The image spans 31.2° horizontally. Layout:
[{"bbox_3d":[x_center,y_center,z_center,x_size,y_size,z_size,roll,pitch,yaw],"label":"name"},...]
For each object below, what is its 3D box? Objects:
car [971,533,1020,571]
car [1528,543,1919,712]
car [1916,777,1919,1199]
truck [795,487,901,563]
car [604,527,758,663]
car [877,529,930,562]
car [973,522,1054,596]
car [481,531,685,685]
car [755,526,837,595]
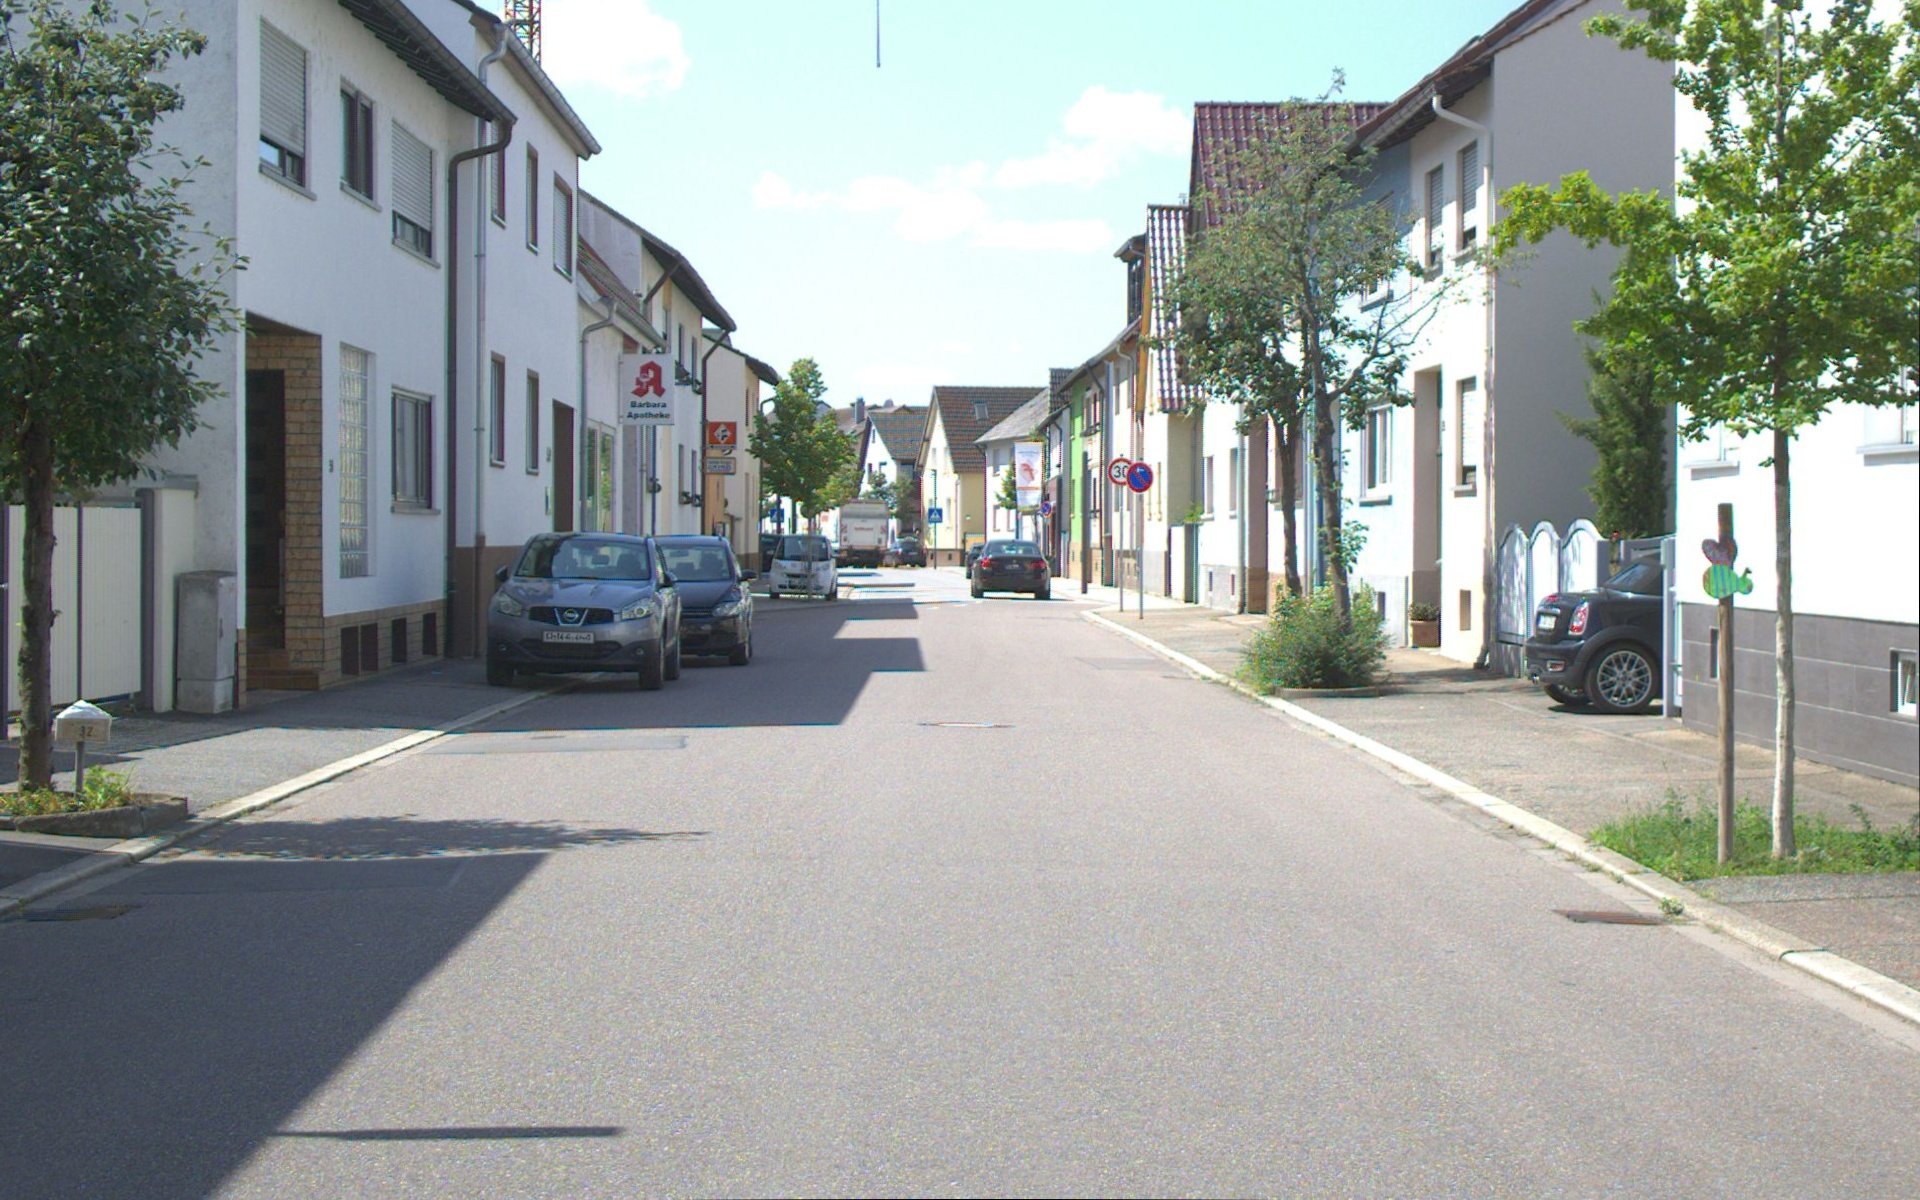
[{"bbox_3d":[1.447,-1.984,142.096,1.782,1.558,4.337,-1,1,-2],"label":"car"},{"bbox_3d":[7.019,0.220,29.789,3.922,1.410,1.740,0,1,1],"label":"car"},{"bbox_3d":[2.750,0.587,4.317,1.728,1.711,4.276,0,1,-3],"label":"car"},{"bbox_3d":[-6.076,-3.927,183.251,3.378,3.852,13.930,-1,1,-11],"label":"truck"},{"bbox_3d":[-3.423,-0.103,42.687,1.653,1.603,4.061,0,1,-1],"label":"car"},{"bbox_3d":[-3.139,-2.978,189.171,1.782,1.747,4.230,-1,1,-17],"label":"car"},{"bbox_3d":[1.288,-0.995,84.084,1.782,1.747,4.000,-1,1,-1],"label":"car"},{"bbox_3d":[-3.910,0.038,36.225,1.758,1.519,4.289,0,1,-1],"label":"car"},{"bbox_3d":[-3.895,-0.958,82.096,1.723,1.550,4.172,2,1,0],"label":"car"}]
